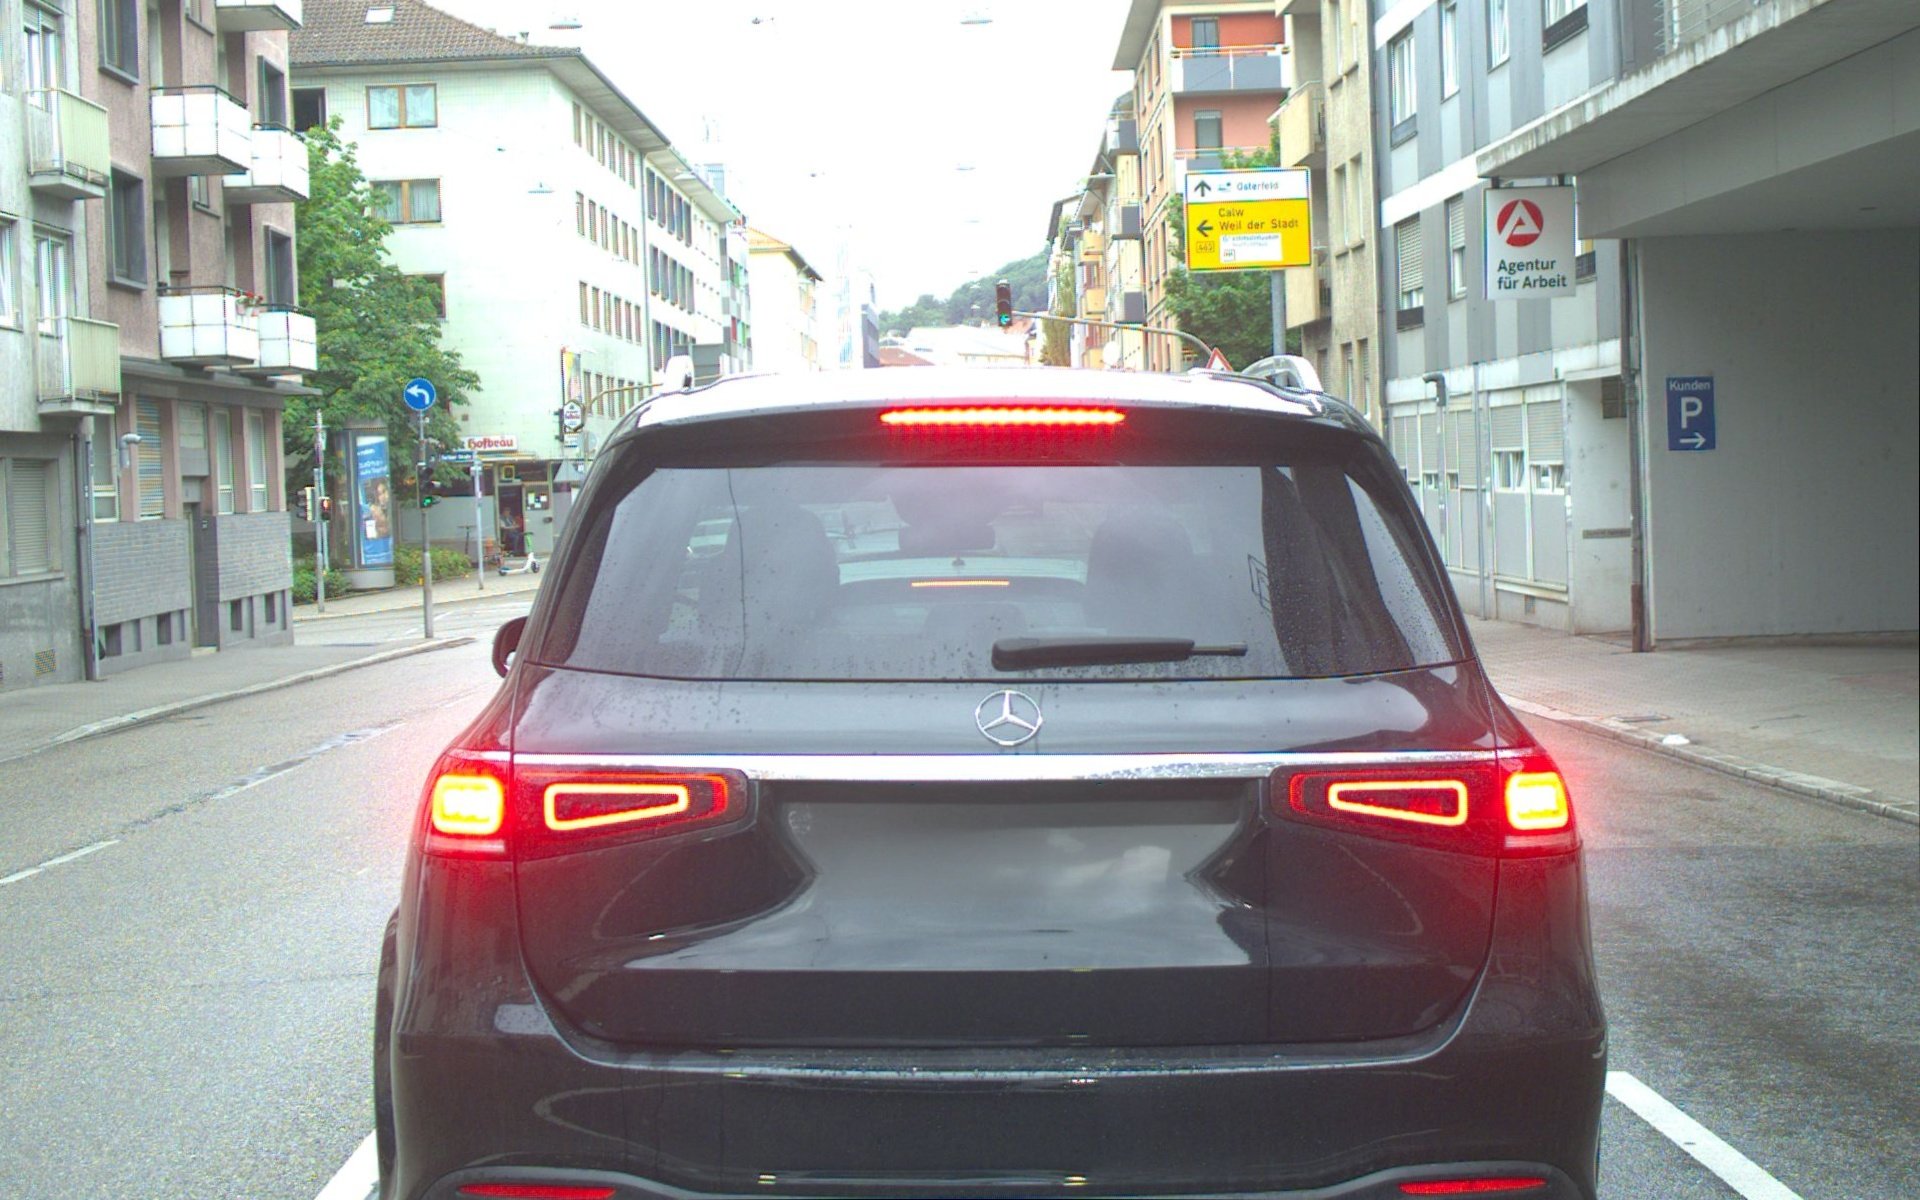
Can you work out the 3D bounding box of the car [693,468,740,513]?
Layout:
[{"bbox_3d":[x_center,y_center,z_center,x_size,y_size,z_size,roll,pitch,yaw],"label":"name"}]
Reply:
[{"bbox_3d":[-9.320,-4.182,131.596,1.618,1.534,4.218,-3,1,-3],"label":"car"}]

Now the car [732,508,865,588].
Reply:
[{"bbox_3d":[-3.507,-1.095,73.861,1.618,1.534,4.219,-3,1,-20],"label":"car"}]

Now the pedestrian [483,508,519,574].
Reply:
[{"bbox_3d":[-13.603,-1.753,101.839,0.923,1.895,0.706,-2,1,-2],"label":"pedestrian"}]

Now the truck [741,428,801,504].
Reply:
[{"bbox_3d":[-8.612,-6.071,157.013,2.479,3.035,9.921,-3,1,-3],"label":"truck"}]

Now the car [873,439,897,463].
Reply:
[{"bbox_3d":[-5.466,-10.821,250.195,1.618,1.534,4.218,-3,1,-3],"label":"car"}]

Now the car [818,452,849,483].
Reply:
[{"bbox_3d":[-7.141,-7.454,193.642,1.618,1.534,4.218,-3,1,-3],"label":"car"}]

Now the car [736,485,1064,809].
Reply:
[{"bbox_3d":[-0.427,0.238,20.841,1.751,1.725,4.218,-1,1,-3],"label":"car"}]

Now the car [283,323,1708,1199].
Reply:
[{"bbox_3d":[0.022,0.504,7.027,1.985,1.799,4.390,1,1,-1],"label":"car"}]

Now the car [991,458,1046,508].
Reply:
[{"bbox_3d":[2.211,-4.461,130.843,1.723,1.753,4.219,-3,2,-3],"label":"car"}]

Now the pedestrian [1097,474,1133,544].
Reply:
[{"bbox_3d":[4.549,-2.679,101.028,0.923,2.007,0.706,-2,1,-2],"label":"pedestrian"}]

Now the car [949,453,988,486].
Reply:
[{"bbox_3d":[0.402,-6.308,166.900,1.618,1.382,4.218,-3,1,-3],"label":"car"}]

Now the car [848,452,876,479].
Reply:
[{"bbox_3d":[-6.232,-8.567,219.225,1.618,1.534,4.218,-3,1,-3],"label":"car"}]

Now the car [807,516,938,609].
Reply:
[{"bbox_3d":[-1.544,-0.687,62.295,1.815,1.534,4.217,-3,1,5],"label":"car"}]

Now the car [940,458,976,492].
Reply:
[{"bbox_3d":[-0.099,-6.529,179.736,1.618,1.534,4.218,-3,1,-3],"label":"car"}]

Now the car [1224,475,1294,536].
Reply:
[{"bbox_3d":[8.221,-2.605,94.613,1.671,1.583,3.330,-2,1,2],"label":"car"}]

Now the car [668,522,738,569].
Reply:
[{"bbox_3d":[-7.562,-1.595,101.490,1.885,1.260,4.218,-3,1,-3],"label":"car"}]

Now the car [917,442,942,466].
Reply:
[{"bbox_3d":[-2.310,-10.874,256.253,1.618,1.534,4.218,-3,1,-3],"label":"car"}]
